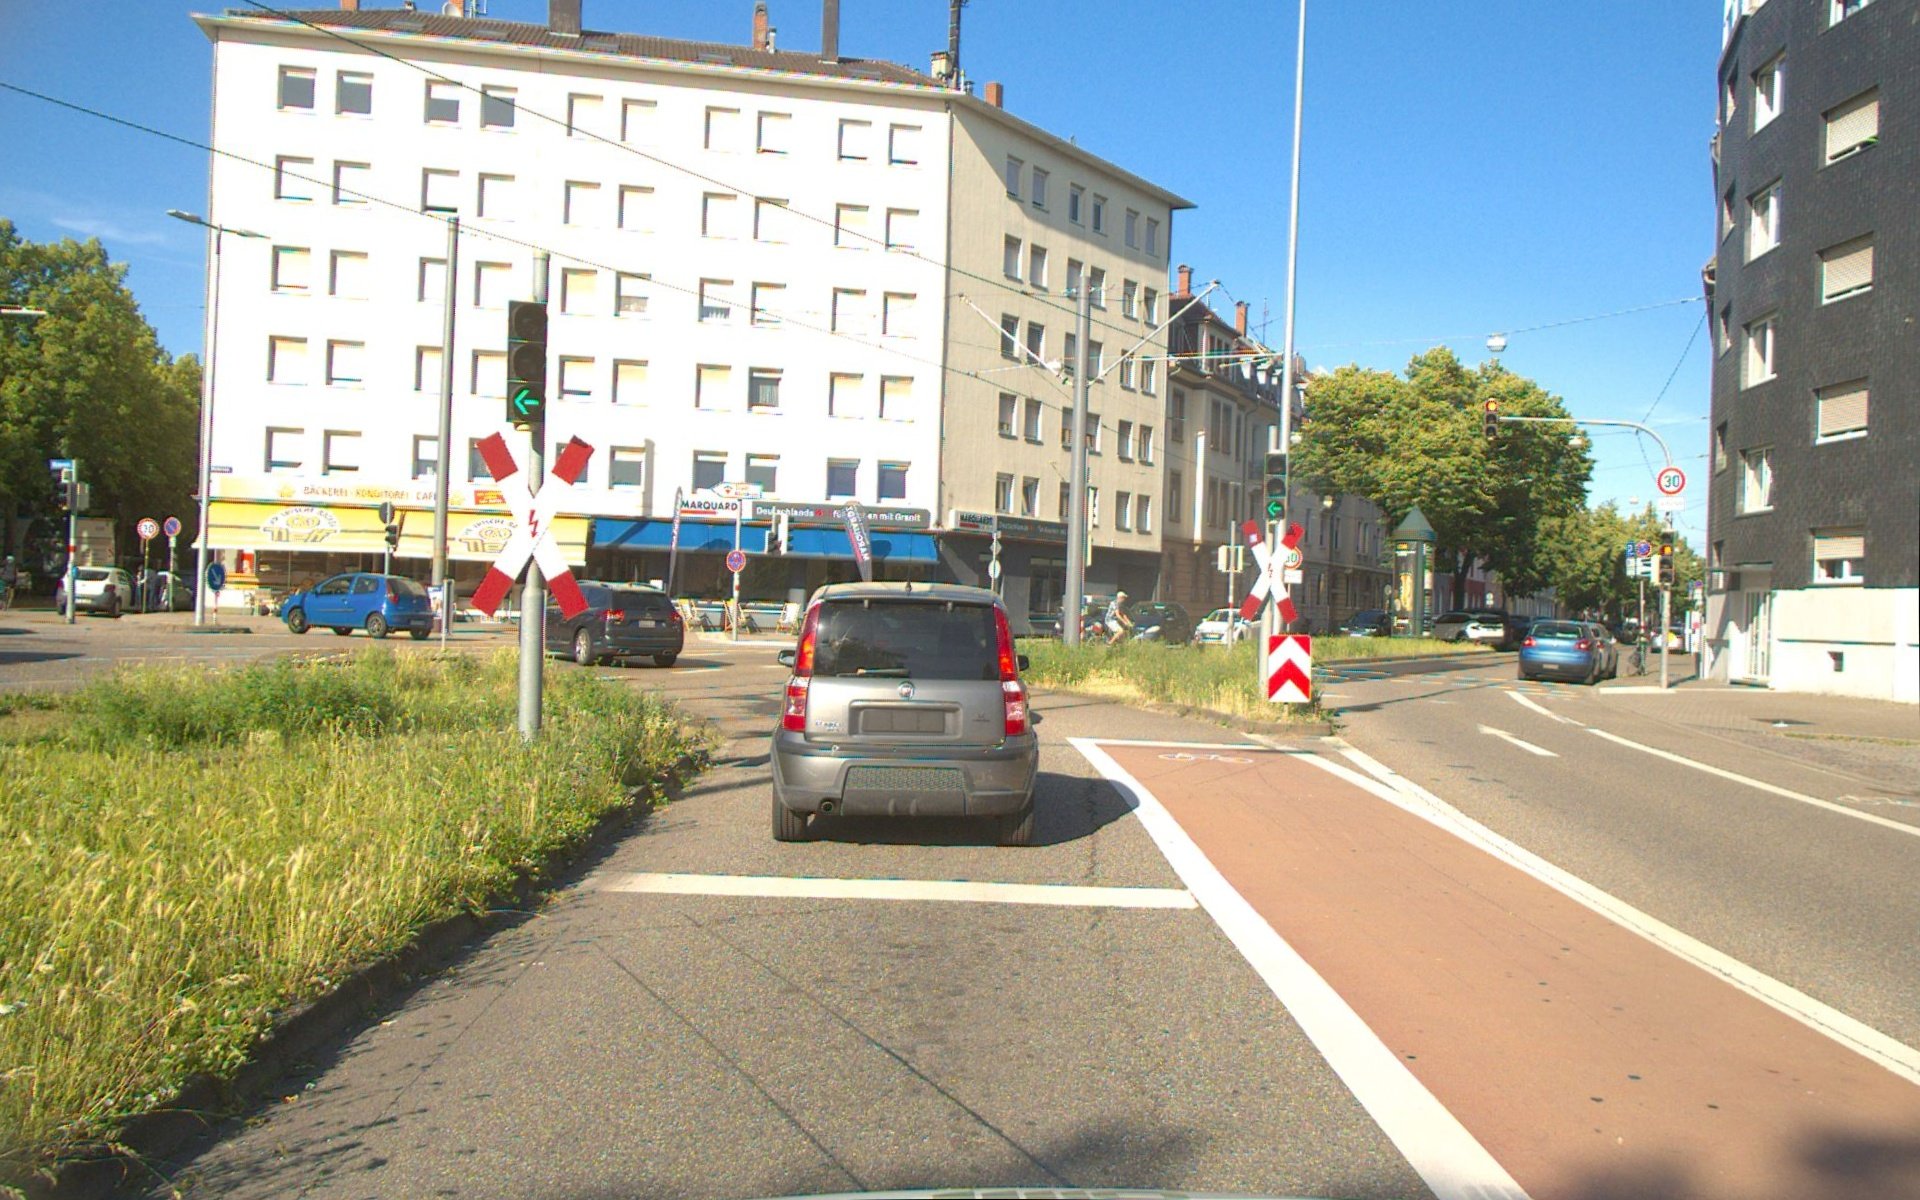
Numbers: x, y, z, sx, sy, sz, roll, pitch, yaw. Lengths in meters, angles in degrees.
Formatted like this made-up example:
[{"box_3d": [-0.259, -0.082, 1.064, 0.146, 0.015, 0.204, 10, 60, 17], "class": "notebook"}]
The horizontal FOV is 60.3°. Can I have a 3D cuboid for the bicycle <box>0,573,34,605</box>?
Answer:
[{"box_3d": [-29.787, -0.338, 51.888, 0.770, 0.968, 1.848, 3, -1, -15], "class": "bicycle"}]

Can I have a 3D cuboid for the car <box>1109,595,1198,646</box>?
[{"box_3d": [6.580, 0.686, 55.926, 1.756, 1.593, 3.762, 2, 0, 27], "class": "car"}]

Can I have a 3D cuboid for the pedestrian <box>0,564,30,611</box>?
[{"box_3d": [-29.811, -0.386, 51.994, 0.761, 1.452, 0.935, 2, 0, -15], "class": "pedestrian"}]

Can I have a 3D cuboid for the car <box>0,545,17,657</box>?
[{"box_3d": [-14.914, -0.016, 22.081, 1.716, 1.642, 4.725, 2, 0, 2], "class": "car"}]

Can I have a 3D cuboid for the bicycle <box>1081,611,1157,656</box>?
[{"box_3d": [4.025, 0.847, 41.892, 1.814, 1.050, 0.589, 2, 0, 25], "class": "bicycle"}]

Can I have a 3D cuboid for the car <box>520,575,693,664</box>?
[{"box_3d": [-6.710, 0.328, 31.082, 1.744, 1.512, 4.244, 2, 0, -33], "class": "car"}]

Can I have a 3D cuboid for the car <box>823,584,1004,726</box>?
[{"box_3d": [-0.630, 0.576, 19.296, 1.591, 1.454, 3.680, 2, 0, -9], "class": "car"}]

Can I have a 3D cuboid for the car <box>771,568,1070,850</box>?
[{"box_3d": [-0.388, 0.609, 10.872, 1.628, 1.536, 3.247, 2, 0, -6], "class": "car"}]

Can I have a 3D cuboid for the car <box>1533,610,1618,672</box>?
[{"box_3d": [16.676, 1.072, 44.717, 1.783, 1.534, 3.997, 2, 0, 25], "class": "car"}]

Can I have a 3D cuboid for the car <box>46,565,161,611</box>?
[{"box_3d": [-26.936, -0.378, 52.150, 1.956, 1.333, 3.993, 2, 0, -8], "class": "car"}]

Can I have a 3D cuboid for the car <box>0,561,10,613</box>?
[{"box_3d": [-25.270, -0.377, 40.029, 3.551, 1.275, 1.691, 2, 0, -13], "class": "car"}]

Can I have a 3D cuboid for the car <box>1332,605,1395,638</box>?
[{"box_3d": [19.256, 1.031, 78.797, 1.956, 1.498, 3.994, 2, 0, 28], "class": "car"}]

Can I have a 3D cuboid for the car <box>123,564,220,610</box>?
[{"box_3d": [-28.509, -0.466, 59.917, 1.899, 1.539, 3.934, 2, 0, -6], "class": "car"}]

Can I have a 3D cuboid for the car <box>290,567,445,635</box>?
[{"box_3d": [-14.019, 0.013, 39.126, 3.321, 1.463, 1.649, 2, 0, 28], "class": "car"}]

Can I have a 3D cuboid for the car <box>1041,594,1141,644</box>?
[{"box_3d": [4.044, 0.586, 50.646, 1.756, 1.420, 3.720, 2, 0, 27], "class": "car"}]

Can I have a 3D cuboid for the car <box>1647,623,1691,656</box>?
[{"box_3d": [39.140, 2.206, 91.235, 1.955, 1.646, 3.995, 3, -1, 27], "class": "car"}]

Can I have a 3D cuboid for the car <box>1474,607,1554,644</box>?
[{"box_3d": [30.198, 1.379, 90.212, 3.748, 1.817, 1.832, 2, 0, 39], "class": "car"}]

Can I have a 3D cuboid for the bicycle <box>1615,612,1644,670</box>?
[{"box_3d": [18.531, 1.111, 45.732, 0.562, 1.537, 2.805, 2, 0, 25], "class": "bicycle"}]

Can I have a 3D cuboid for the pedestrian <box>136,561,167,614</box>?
[{"box_3d": [-25.318, -0.397, 51.790, 0.782, 1.649, 0.822, 2, 0, -29], "class": "pedestrian"}]

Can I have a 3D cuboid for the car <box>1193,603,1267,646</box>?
[{"box_3d": [10.189, 0.914, 62.251, 1.756, 1.508, 3.527, 2, 0, 27], "class": "car"}]

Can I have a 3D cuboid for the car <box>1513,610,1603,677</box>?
[{"box_3d": [14.577, 1.017, 40.248, 1.740, 1.468, 3.616, 3, 1, 24], "class": "car"}]

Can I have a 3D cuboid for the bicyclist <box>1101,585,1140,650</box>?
[{"box_3d": [4.072, 0.438, 41.875, 0.805, 1.586, 0.561, 2, 0, 25], "class": "bicyclist"}]

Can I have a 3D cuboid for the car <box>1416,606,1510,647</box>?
[{"box_3d": [21.918, 1.121, 72.218, 1.877, 1.621, 3.976, 2, 0, -21], "class": "car"}]
